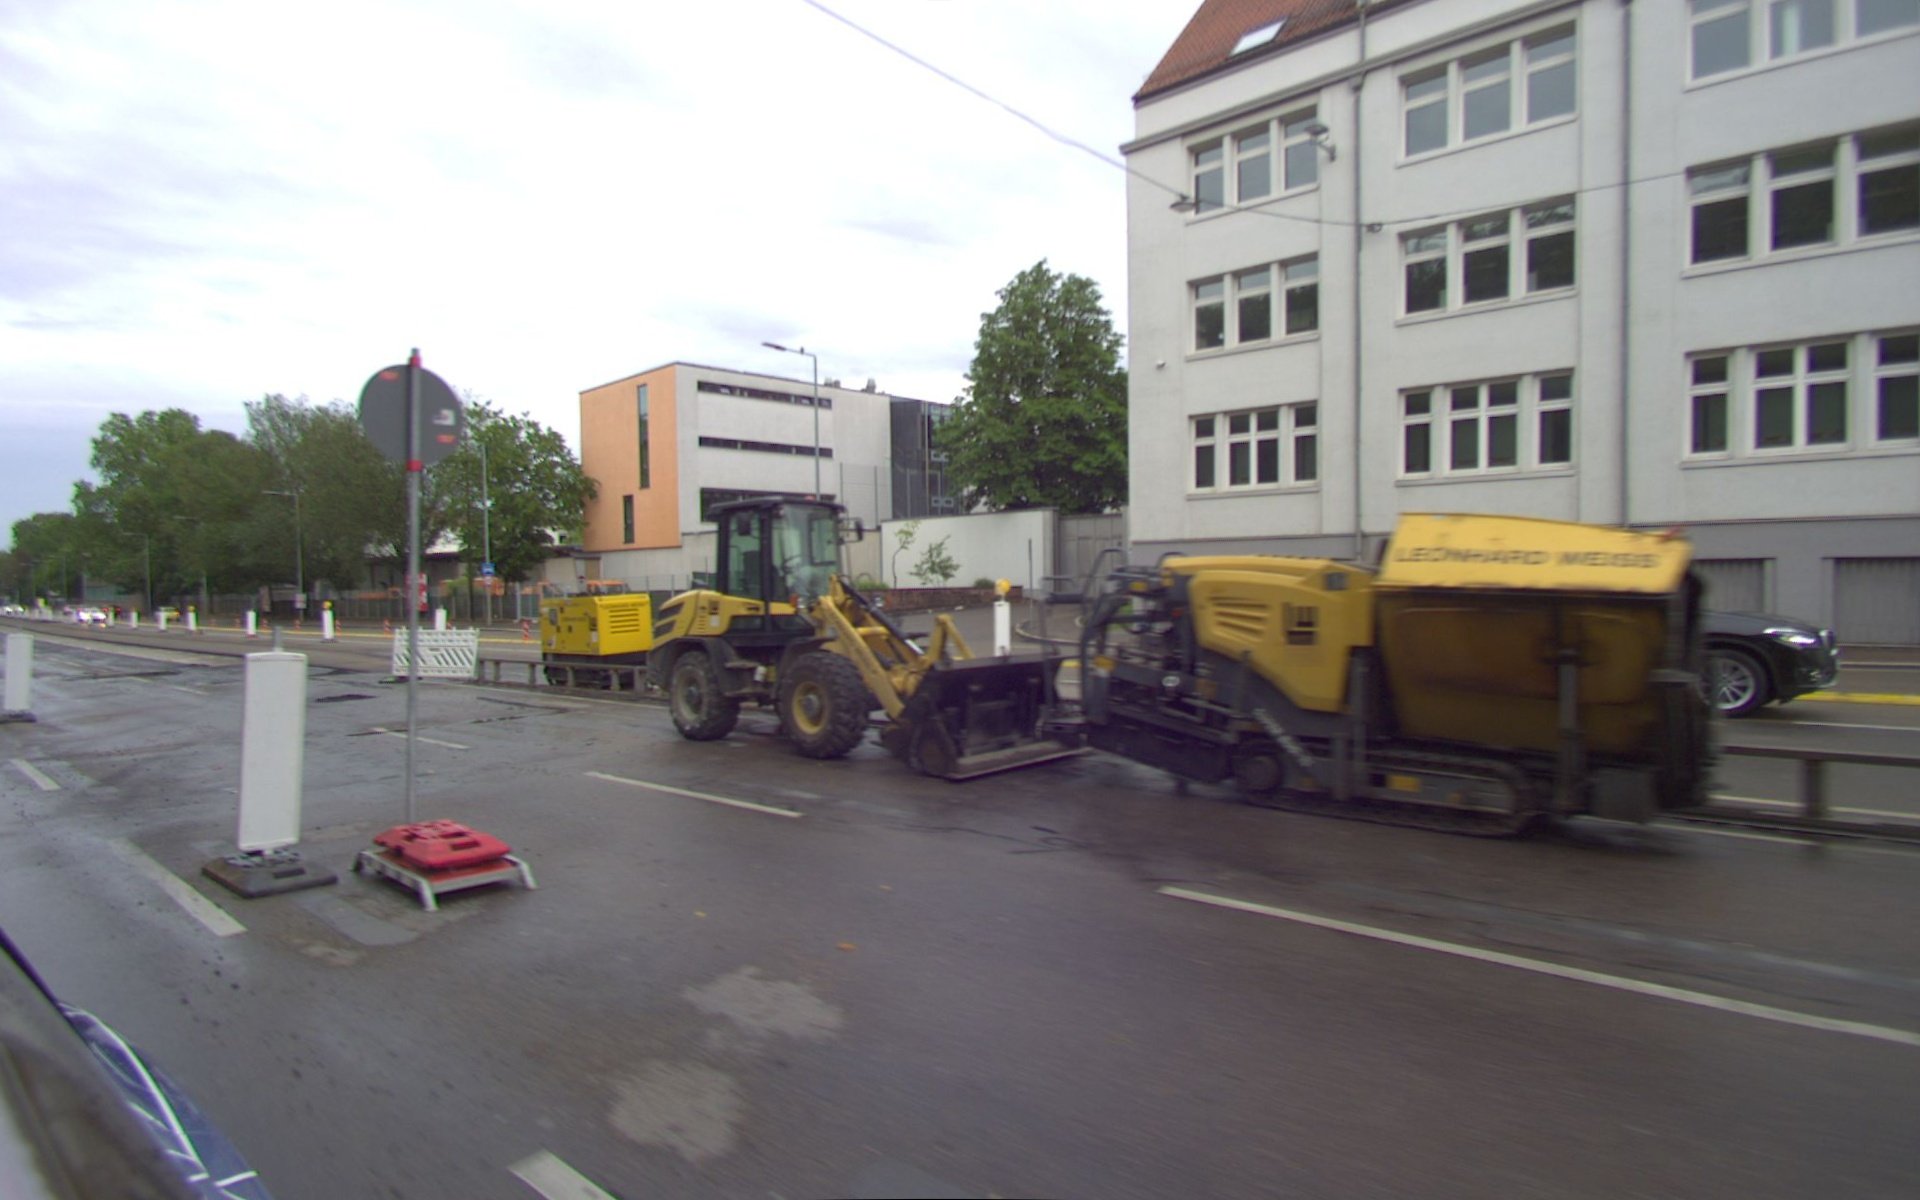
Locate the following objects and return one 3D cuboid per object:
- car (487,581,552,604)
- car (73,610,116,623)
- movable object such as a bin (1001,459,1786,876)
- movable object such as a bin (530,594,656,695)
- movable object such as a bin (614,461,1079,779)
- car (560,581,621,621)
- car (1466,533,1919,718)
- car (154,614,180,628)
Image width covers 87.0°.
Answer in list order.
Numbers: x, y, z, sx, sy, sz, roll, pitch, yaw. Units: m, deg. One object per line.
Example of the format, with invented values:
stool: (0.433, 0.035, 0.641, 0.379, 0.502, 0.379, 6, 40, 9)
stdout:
car: (-32.625, -0.576, 75.065, 3.959, 1.539, 2.004, -2, 1, -9)
car: (-110.066, 2.056, 128.765, 4.280, 1.642, 1.860, 0, -1, 9)
movable object such as a bin: (2.667, 0.374, 7.328, 5.030, 2.106, 1.348, -1, 0, 43)
movable object such as a bin: (-6.597, 0.765, 18.095, 2.438, 1.657, 1.072, -1, 1, 42)
movable object such as a bin: (-1.483, 0.194, 10.908, 5.383, 2.629, 1.881, -1, 0, 43)
car: (-21.165, 0.064, 57.895, 3.999, 2.186, 1.593, -1, 1, 42)
car: (8.545, 0.220, 11.087, 4.985, 1.718, 1.972, -1, 1, 44)
car: (-81.874, 2.194, 104.421, 3.804, 1.378, 1.537, -1, -1, 43)
